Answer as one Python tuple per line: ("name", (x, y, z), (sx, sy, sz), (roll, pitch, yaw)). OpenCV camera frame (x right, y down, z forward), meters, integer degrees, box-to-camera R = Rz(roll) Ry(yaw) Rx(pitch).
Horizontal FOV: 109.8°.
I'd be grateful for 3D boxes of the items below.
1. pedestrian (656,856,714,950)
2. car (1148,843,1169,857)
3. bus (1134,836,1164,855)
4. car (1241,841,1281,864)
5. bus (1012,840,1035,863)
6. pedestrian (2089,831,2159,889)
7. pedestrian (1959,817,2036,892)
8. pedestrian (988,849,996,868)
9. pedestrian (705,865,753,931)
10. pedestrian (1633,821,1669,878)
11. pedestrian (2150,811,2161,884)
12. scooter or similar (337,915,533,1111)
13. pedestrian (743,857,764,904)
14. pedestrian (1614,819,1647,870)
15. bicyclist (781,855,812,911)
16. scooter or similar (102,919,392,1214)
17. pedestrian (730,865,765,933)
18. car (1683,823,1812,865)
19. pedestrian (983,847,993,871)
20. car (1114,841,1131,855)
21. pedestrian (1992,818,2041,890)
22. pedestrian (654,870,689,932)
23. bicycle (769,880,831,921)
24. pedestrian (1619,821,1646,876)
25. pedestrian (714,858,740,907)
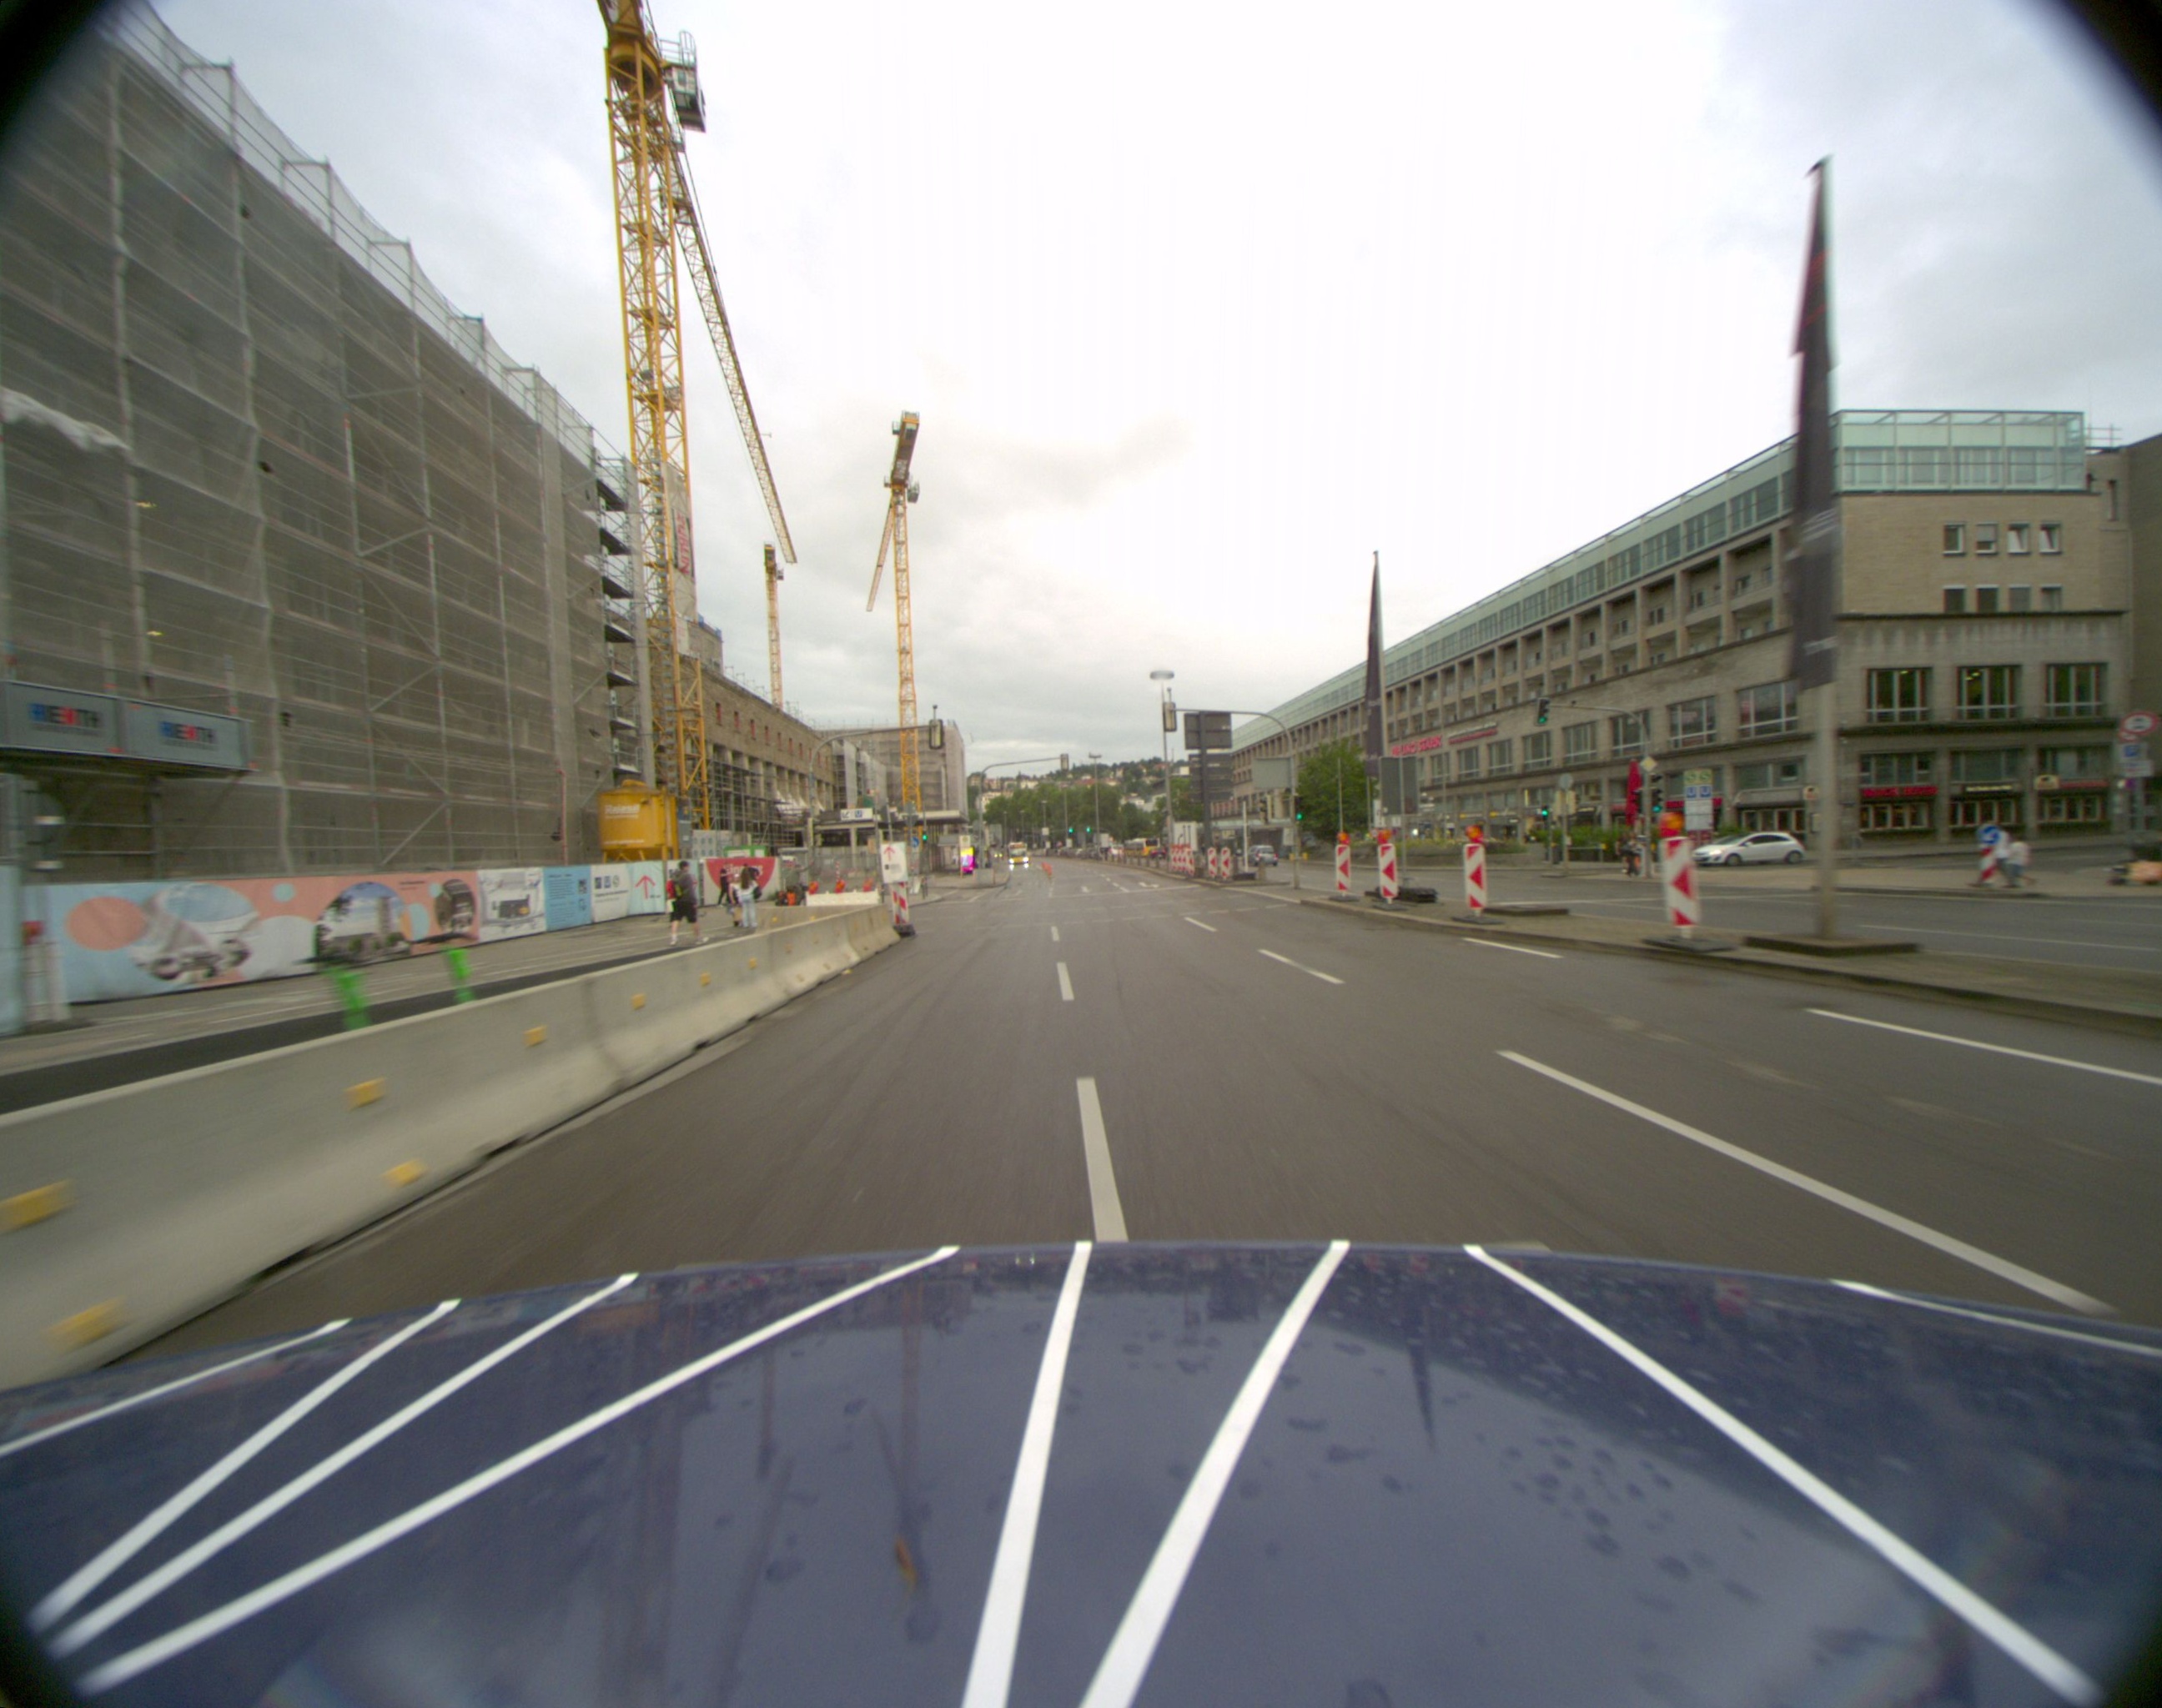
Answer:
("pedestrian", (-8.752, 1.082, 16.823), (0.788, 1.999, 0.866), (-2, -2, 6))
("car", (9.848, -0.560, 96.963), (1.887, 1.674, 3.997), (-2, 1, -6))
("bus", (11.014, -1.448, 124.829), (2.910, 2.923, 9.816), (-2, 1, -6))
("car", (13.675, -0.130, 57.845), (1.759, 1.612, 3.998), (-2, 1, -4))
("bus", (-8.432, -0.430, 110.660), (3.000, 3.120, 7.760), (-2, 1, -6))
("pedestrian", (23.701, 0.125, 17.281), (0.564, 1.284, 0.752), (-2, 1, -6))
("pedestrian", (21.014, 0.016, 17.437), (0.839, 1.609, 0.788), (-6, 2, -14))
("pedestrian", (-8.526, 0.435, 72.645), (0.646, 1.813, 0.735), (-2, 1, 0))
("pedestrian", (-9.802, 1.211, 21.190), (0.815, 1.745, 0.881), (-2, 1, 1))
("pedestrian", (19.410, -0.154, 25.882), (0.591, 1.914, 0.751), (-2, 1, -4))
("pedestrian", (24.007, -0.152, 16.529), (0.666, 1.583, 0.680), (-2, 1, -14))
("scooter or similar", (-5.101, 1.198, 6.057), (0.492, 1.326, 1.027), (-2, 1, 24))
("pedestrian", (-14.265, 1.125, 33.075), (0.629, 2.002, 0.577), (-3, 1, -36))
("pedestrian", (22.128, -0.375, 30.588), (0.705, 2.002, 0.807), (-2, 1, -4))
("bicyclist", (-8.753, 0.897, 23.388), (0.696, 1.695, 0.434), (-2, 1, 14))
("scooter or similar", (-4.553, 1.082, 4.246), (0.526, 1.326, 1.024), (-2, 1, -11))
("pedestrian", (-9.070, 1.201, 20.696), (0.806, 1.746, 0.814), (0, 3, -21))
("car", (29.479, -0.441, 33.680), (4.090, 1.630, 1.806), (-2, 1, 1))
("pedestrian", (-7.946, 0.406, 65.017), (0.735, 2.002, 0.645), (-2, 1, -10))
("car", (6.318, -0.897, 115.262), (2.038, 1.962, 3.998), (-2, 1, -4))
("pedestrian", (21.684, 0.001, 17.619), (0.451, 1.609, 0.526), (-6, 2, -15))
("pedestrian", (-11.922, 1.363, 22.162), (0.744, 1.717, 0.713), (-3, 1, -23))
("bicycle", (-8.688, 1.425, 23.580), (0.755, 1.127, 1.994), (-2, 1, 15))
("pedestrian", (19.390, -0.197, 26.701), (0.715, 1.914, 0.592), (-1, 1, 37))
("pedestrian", (-14.692, 1.183, 31.524), (0.640, 2.002, 0.629), (-2, 1, 21))
